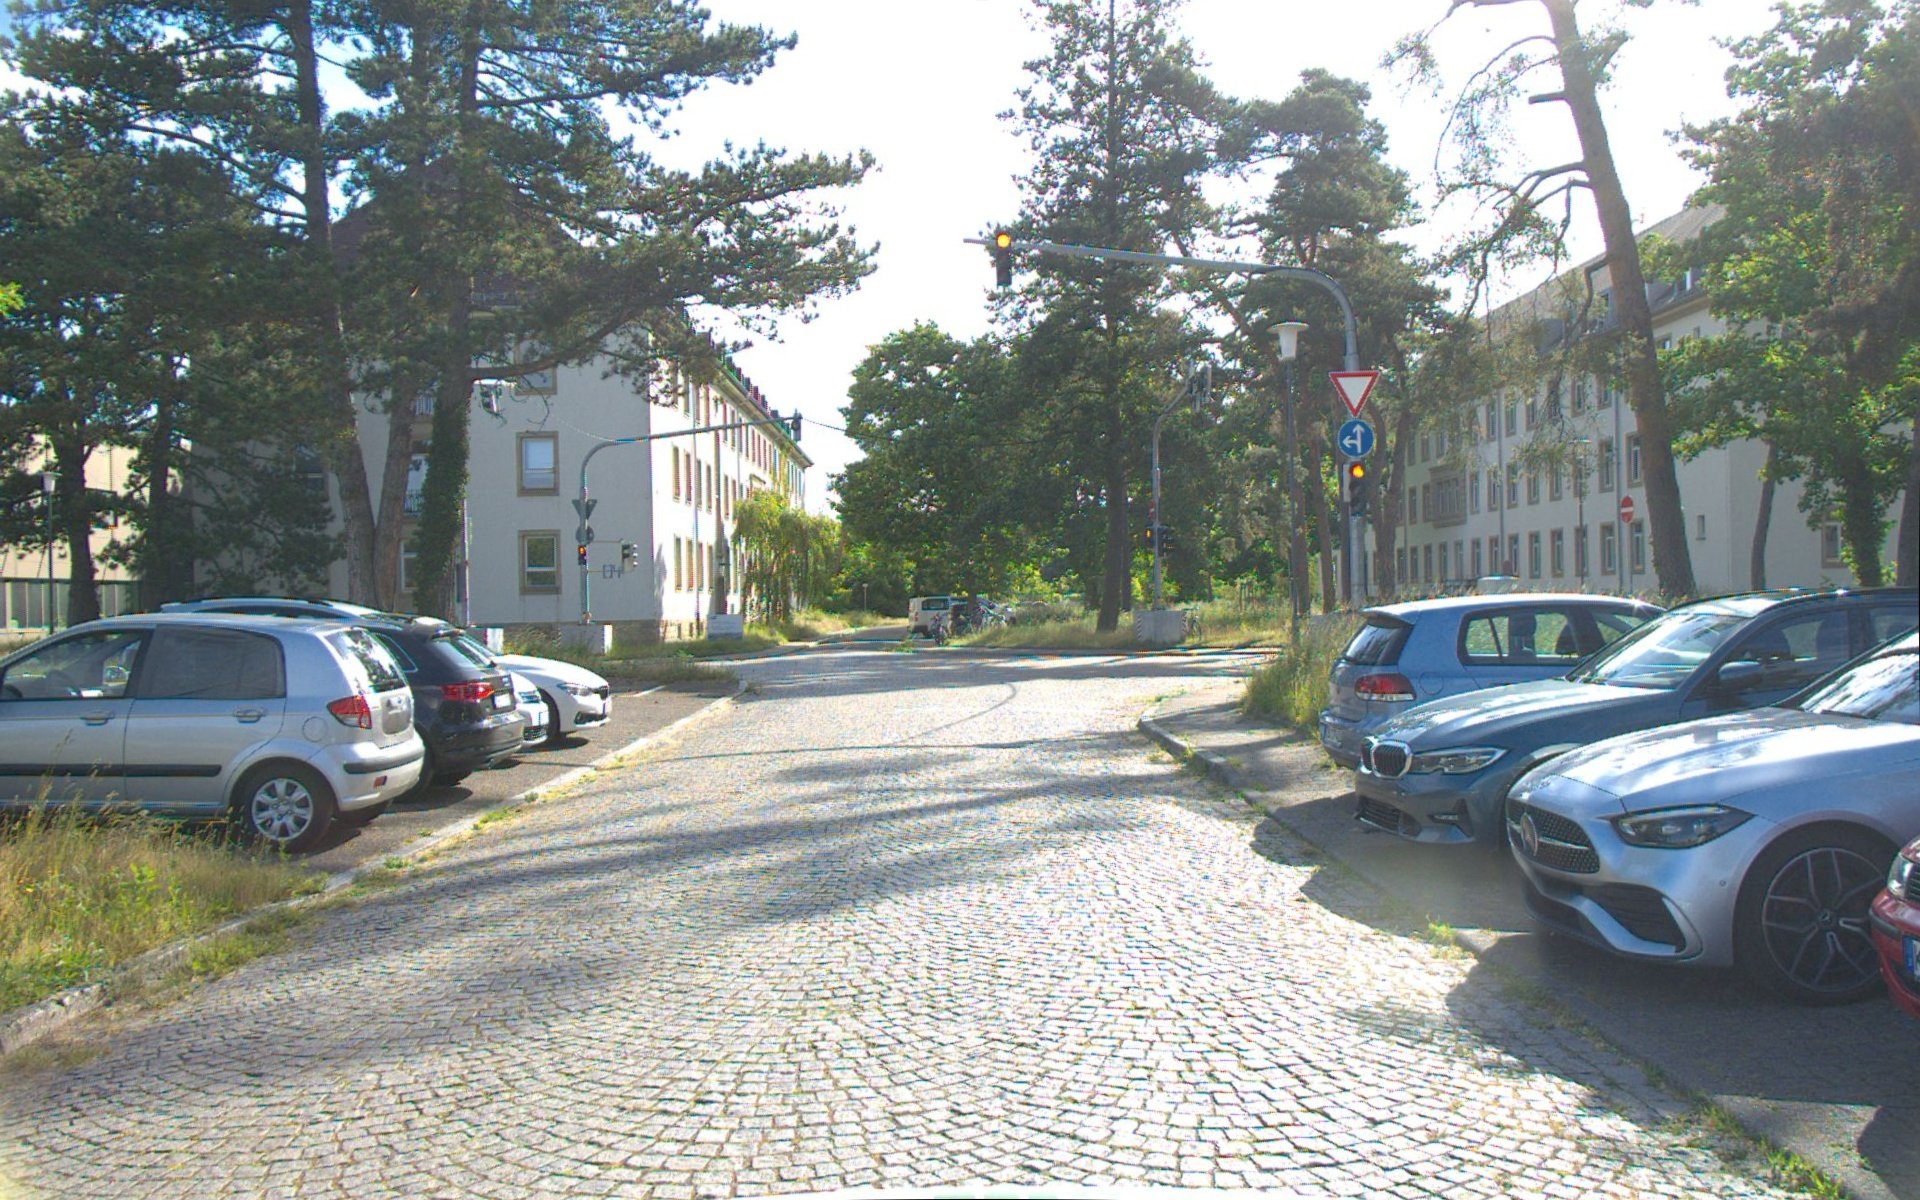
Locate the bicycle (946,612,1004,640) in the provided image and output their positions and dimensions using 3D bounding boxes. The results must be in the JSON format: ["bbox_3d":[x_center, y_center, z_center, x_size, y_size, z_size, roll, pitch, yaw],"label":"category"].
[{"bbox_3d":[0.539,0.969,61.152,2.070,1.028,0.620,1,-1,-8],"label":"bicycle"}]

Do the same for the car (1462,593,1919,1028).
[{"bbox_3d":[4.545,0.691,6.845,4.342,1.440,1.781,-3,0,0],"label":"car"}]

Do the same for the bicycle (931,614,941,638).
[{"bbox_3d":[-1.037,1.110,70.739,0.409,1.028,1.483,1,-1,0],"label":"bicycle"}]

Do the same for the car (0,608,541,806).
[{"bbox_3d":[-5.684,0.851,13.878,3.908,1.506,1.802,1,0,-4],"label":"car"}]

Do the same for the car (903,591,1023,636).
[{"bbox_3d":[0.141,0.658,79.107,5.437,2.049,1.989,1,-1,-19],"label":"car"}]

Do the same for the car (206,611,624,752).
[{"bbox_3d":[-6.178,0.914,19.154,4.247,1.494,1.829,1,0,-4],"label":"car"}]

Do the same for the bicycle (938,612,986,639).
[{"bbox_3d":[0.087,1.001,64.614,1.803,1.028,0.635,1,-1,-8],"label":"bicycle"}]

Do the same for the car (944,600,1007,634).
[{"bbox_3d":[0.687,0.772,75.630,2.727,1.492,1.669,1,-1,-5],"label":"car"}]

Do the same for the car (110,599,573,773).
[{"bbox_3d":[-6.143,0.833,16.833,3.999,1.621,1.884,1,0,-4],"label":"car"}]

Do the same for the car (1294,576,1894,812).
[{"bbox_3d":[4.586,0.649,12.341,3.803,1.440,1.636,-3,0,0],"label":"car"}]

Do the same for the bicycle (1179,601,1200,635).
[{"bbox_3d":[6.808,0.536,49.144,0.294,0.977,1.584,1,-1,-4],"label":"bicycle"}]

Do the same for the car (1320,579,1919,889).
[{"bbox_3d":[4.522,0.679,9.560,4.467,1.440,1.636,-3,0,0],"label":"car"}]

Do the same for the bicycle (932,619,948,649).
[{"bbox_3d":[-0.685,1.162,57.498,0.458,1.028,1.584,1,-1,-4],"label":"bicycle"}]

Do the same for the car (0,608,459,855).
[{"bbox_3d":[-5.480,0.836,11.218,3.672,1.513,1.645,1,0,-4],"label":"car"}]

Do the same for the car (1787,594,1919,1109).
[{"bbox_3d":[4.772,0.636,4.638,4.043,1.474,1.636,-3,0,0],"label":"car"}]

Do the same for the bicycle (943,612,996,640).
[{"bbox_3d":[0.355,0.985,62.862,1.967,1.028,0.631,1,-1,-8],"label":"bicycle"}]
